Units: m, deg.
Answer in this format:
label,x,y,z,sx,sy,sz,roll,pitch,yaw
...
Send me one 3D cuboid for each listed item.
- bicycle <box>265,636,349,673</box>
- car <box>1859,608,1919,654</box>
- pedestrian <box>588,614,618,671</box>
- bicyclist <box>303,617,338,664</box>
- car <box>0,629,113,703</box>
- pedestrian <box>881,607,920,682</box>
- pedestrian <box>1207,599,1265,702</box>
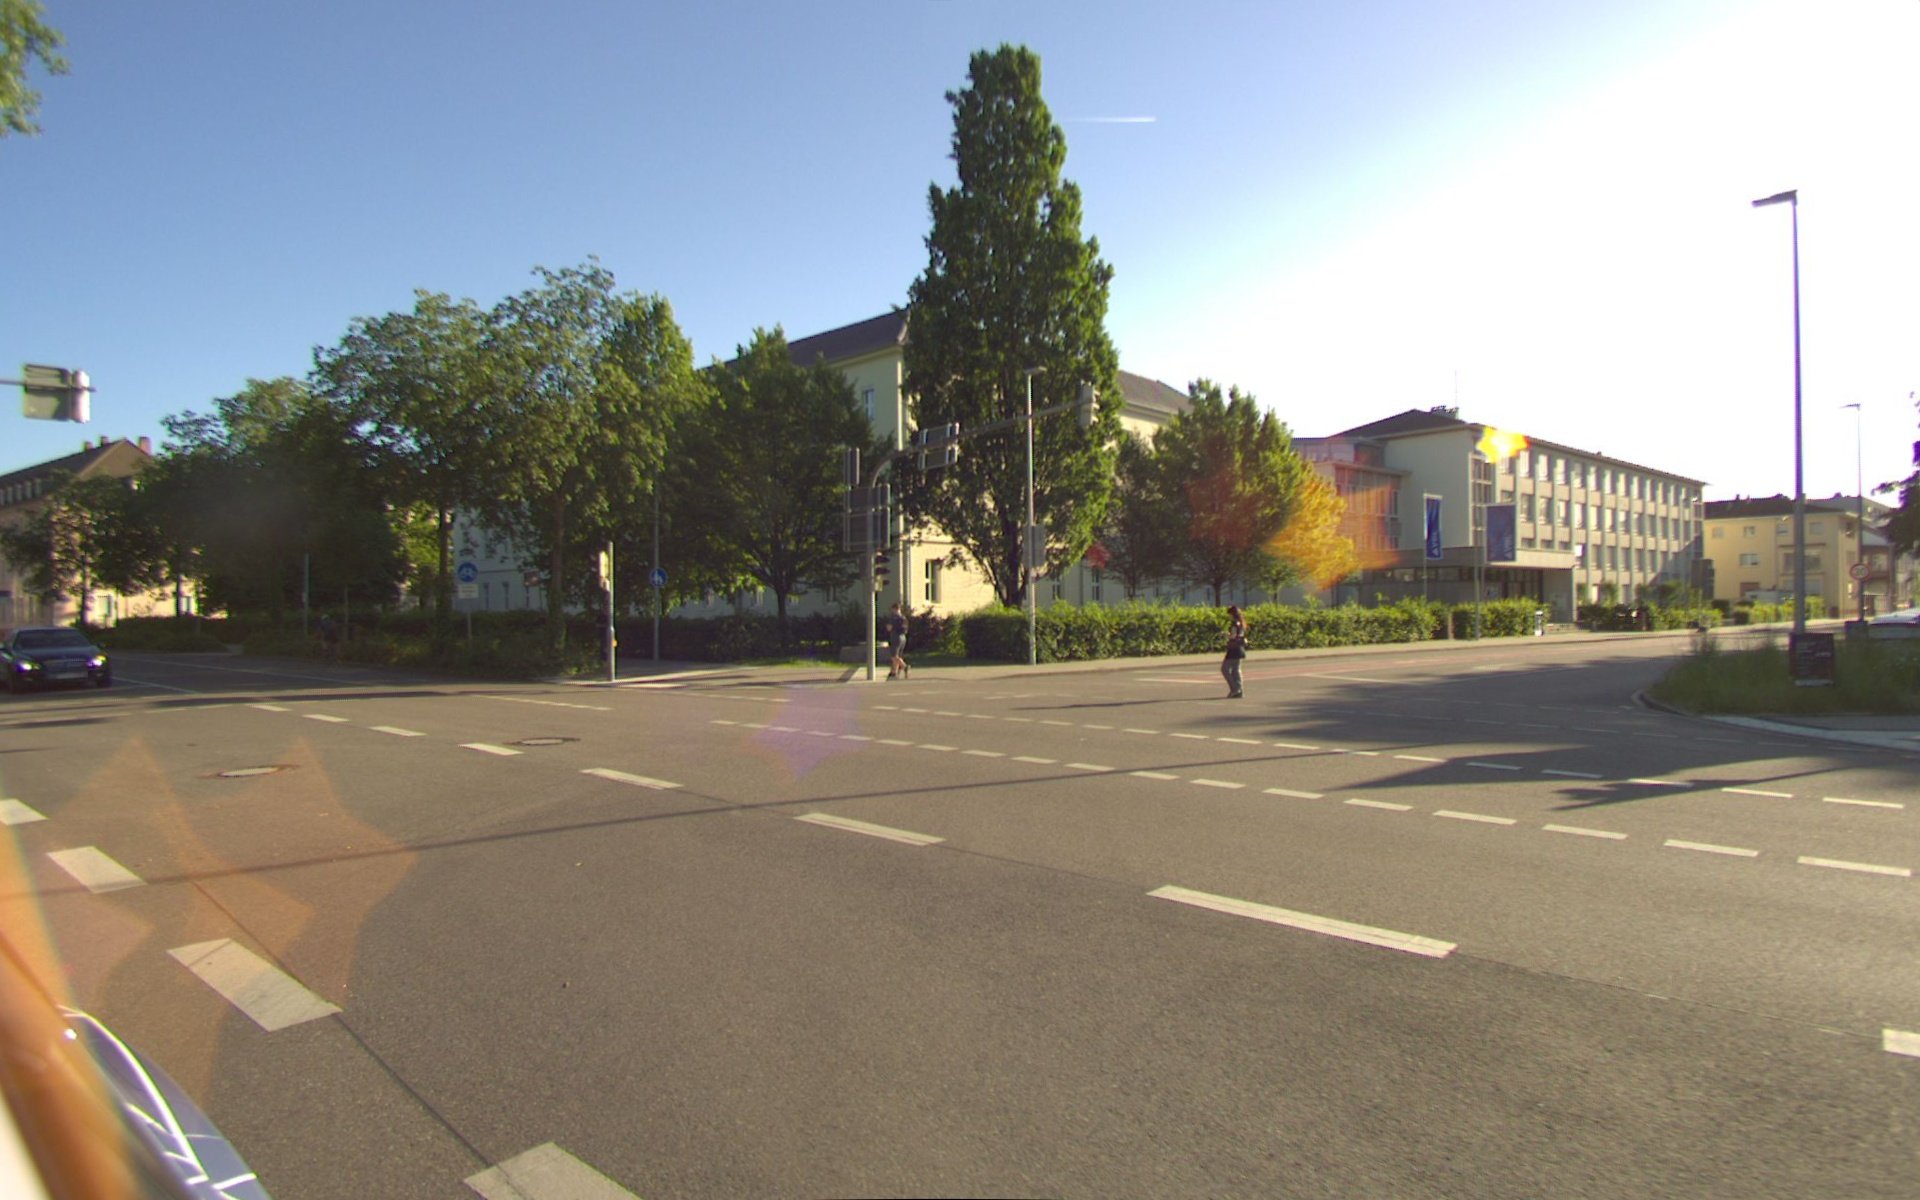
label,x,y,z,sx,sy,sz,roll,pitch,yaw
bicycle,-20.871,1.741,32.387,2.153,1.125,0.700,0,-1,-12
car,33.933,1.080,36.242,4.192,1.551,2.072,0,-1,-41
pedestrian,-10.865,1.273,30.789,0.681,1.694,0.681,0,-1,-40
bicyclist,-20.518,1.279,32.466,0.745,1.477,0.700,0,-1,-11
car,-20.867,1.424,23.070,4.525,1.428,1.700,-1,1,41
pedestrian,-1.483,1.100,25.331,0.681,1.830,0.681,0,-1,-40
pedestrian,5.047,0.907,18.507,0.733,1.830,0.727,0,-1,-40
